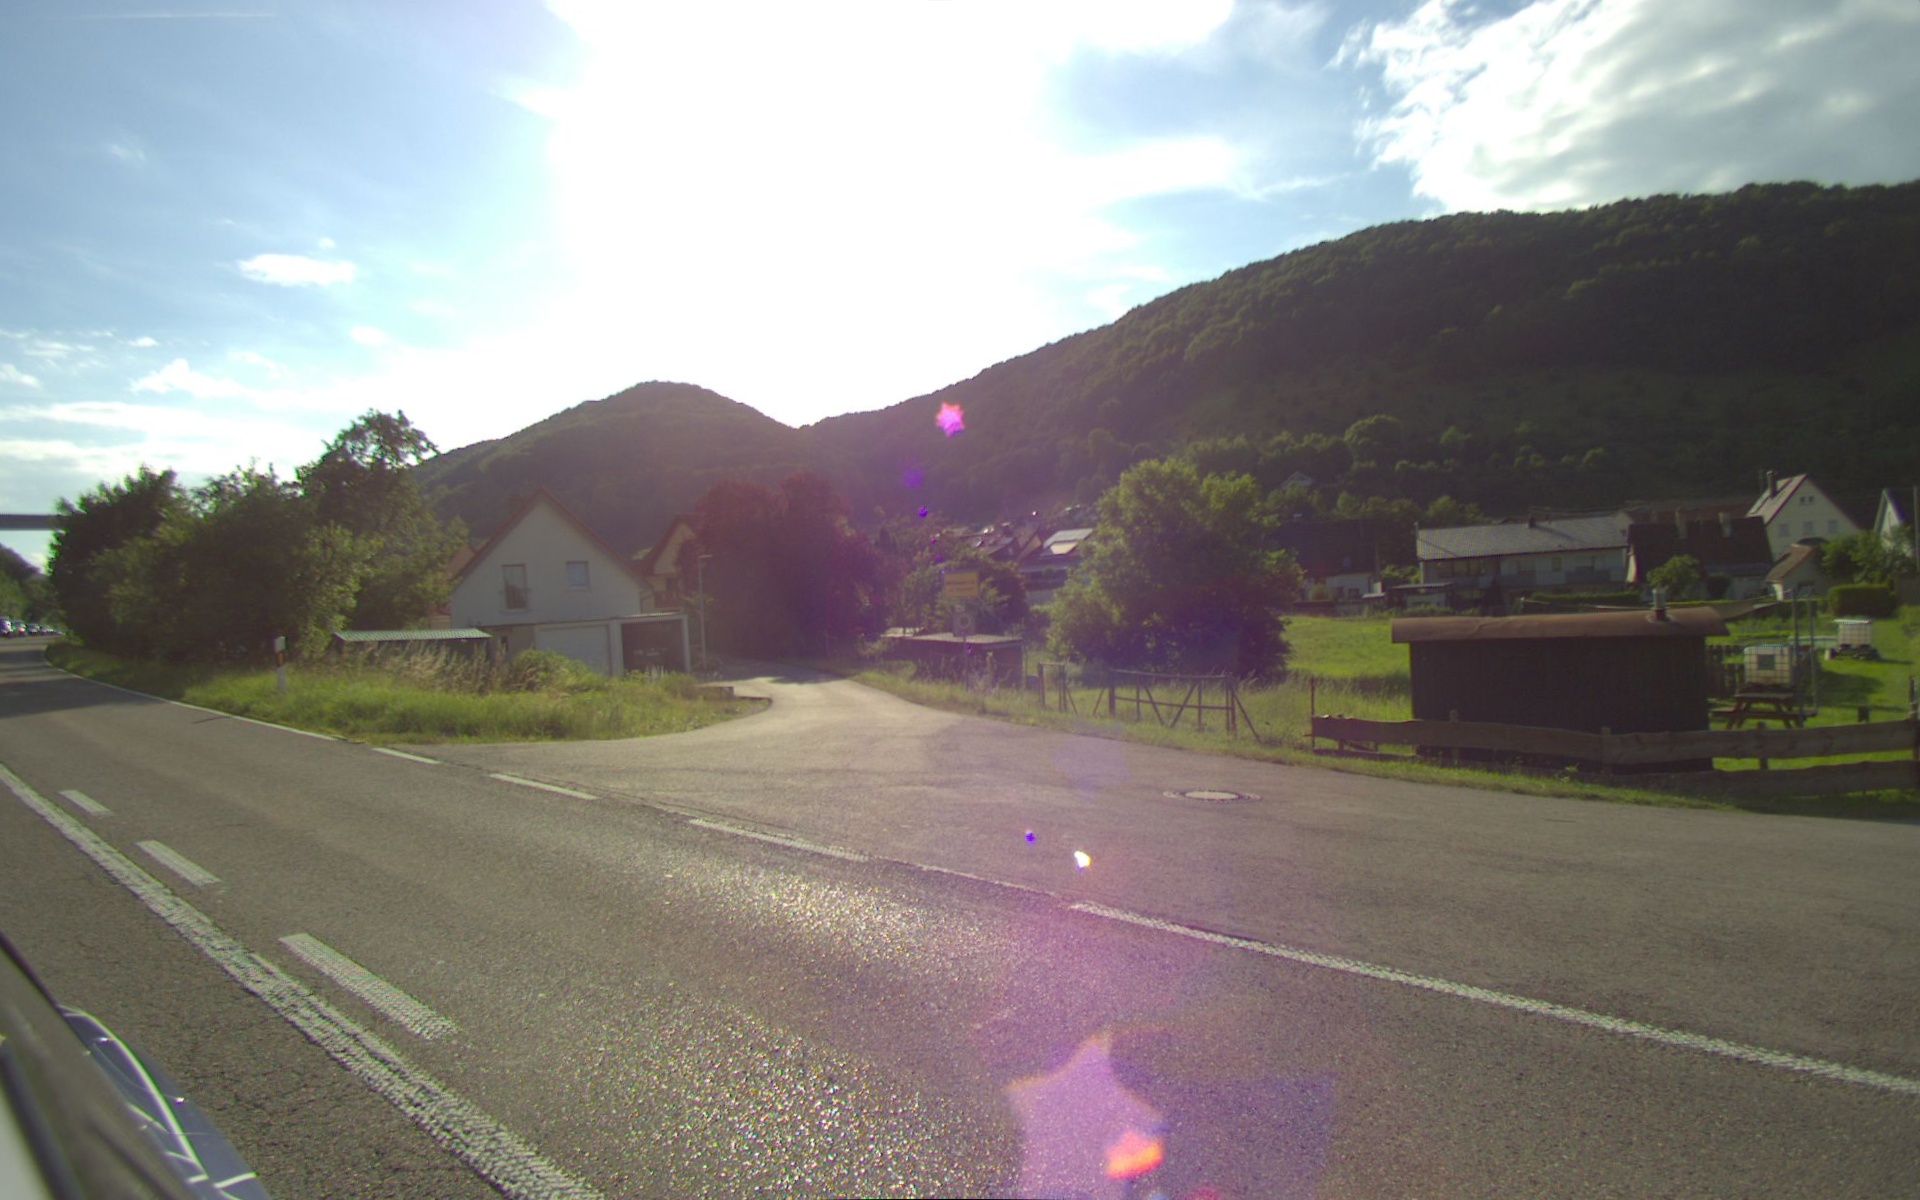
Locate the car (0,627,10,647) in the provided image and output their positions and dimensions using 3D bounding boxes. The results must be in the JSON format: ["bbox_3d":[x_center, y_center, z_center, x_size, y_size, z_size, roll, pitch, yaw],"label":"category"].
[{"bbox_3d":[-82.022,3.151,85.932,1.791,1.630,4.006,1,-2,-41],"label":"car"}]

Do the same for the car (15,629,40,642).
[{"bbox_3d":[-114.715,4.389,124.574,1.813,1.564,4.187,1,-2,-37],"label":"car"}]
